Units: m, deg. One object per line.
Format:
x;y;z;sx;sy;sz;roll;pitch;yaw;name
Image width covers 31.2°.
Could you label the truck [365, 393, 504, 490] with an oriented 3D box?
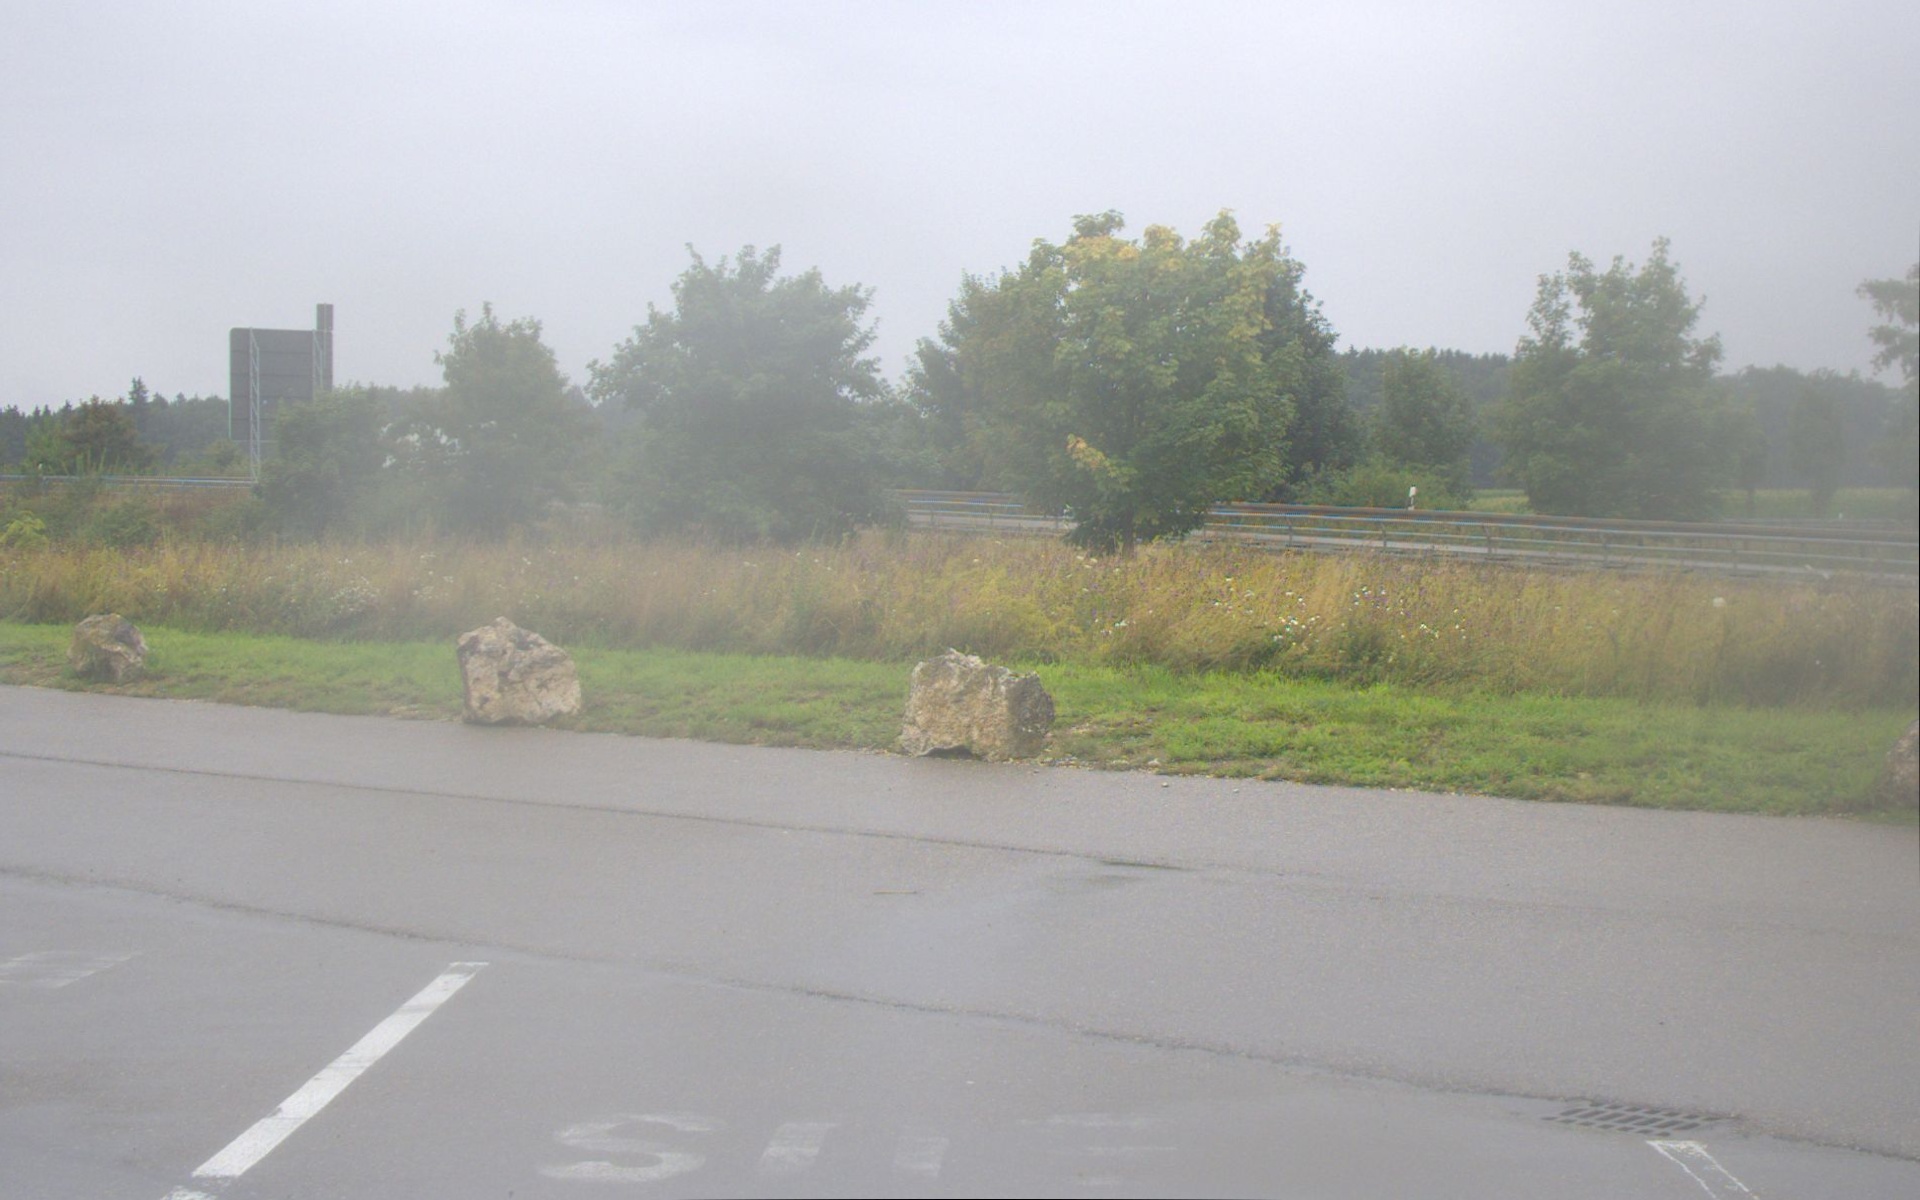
-19.248;-5.732;125.463;2.739;3.379;8.069;0;2;-26;truck
